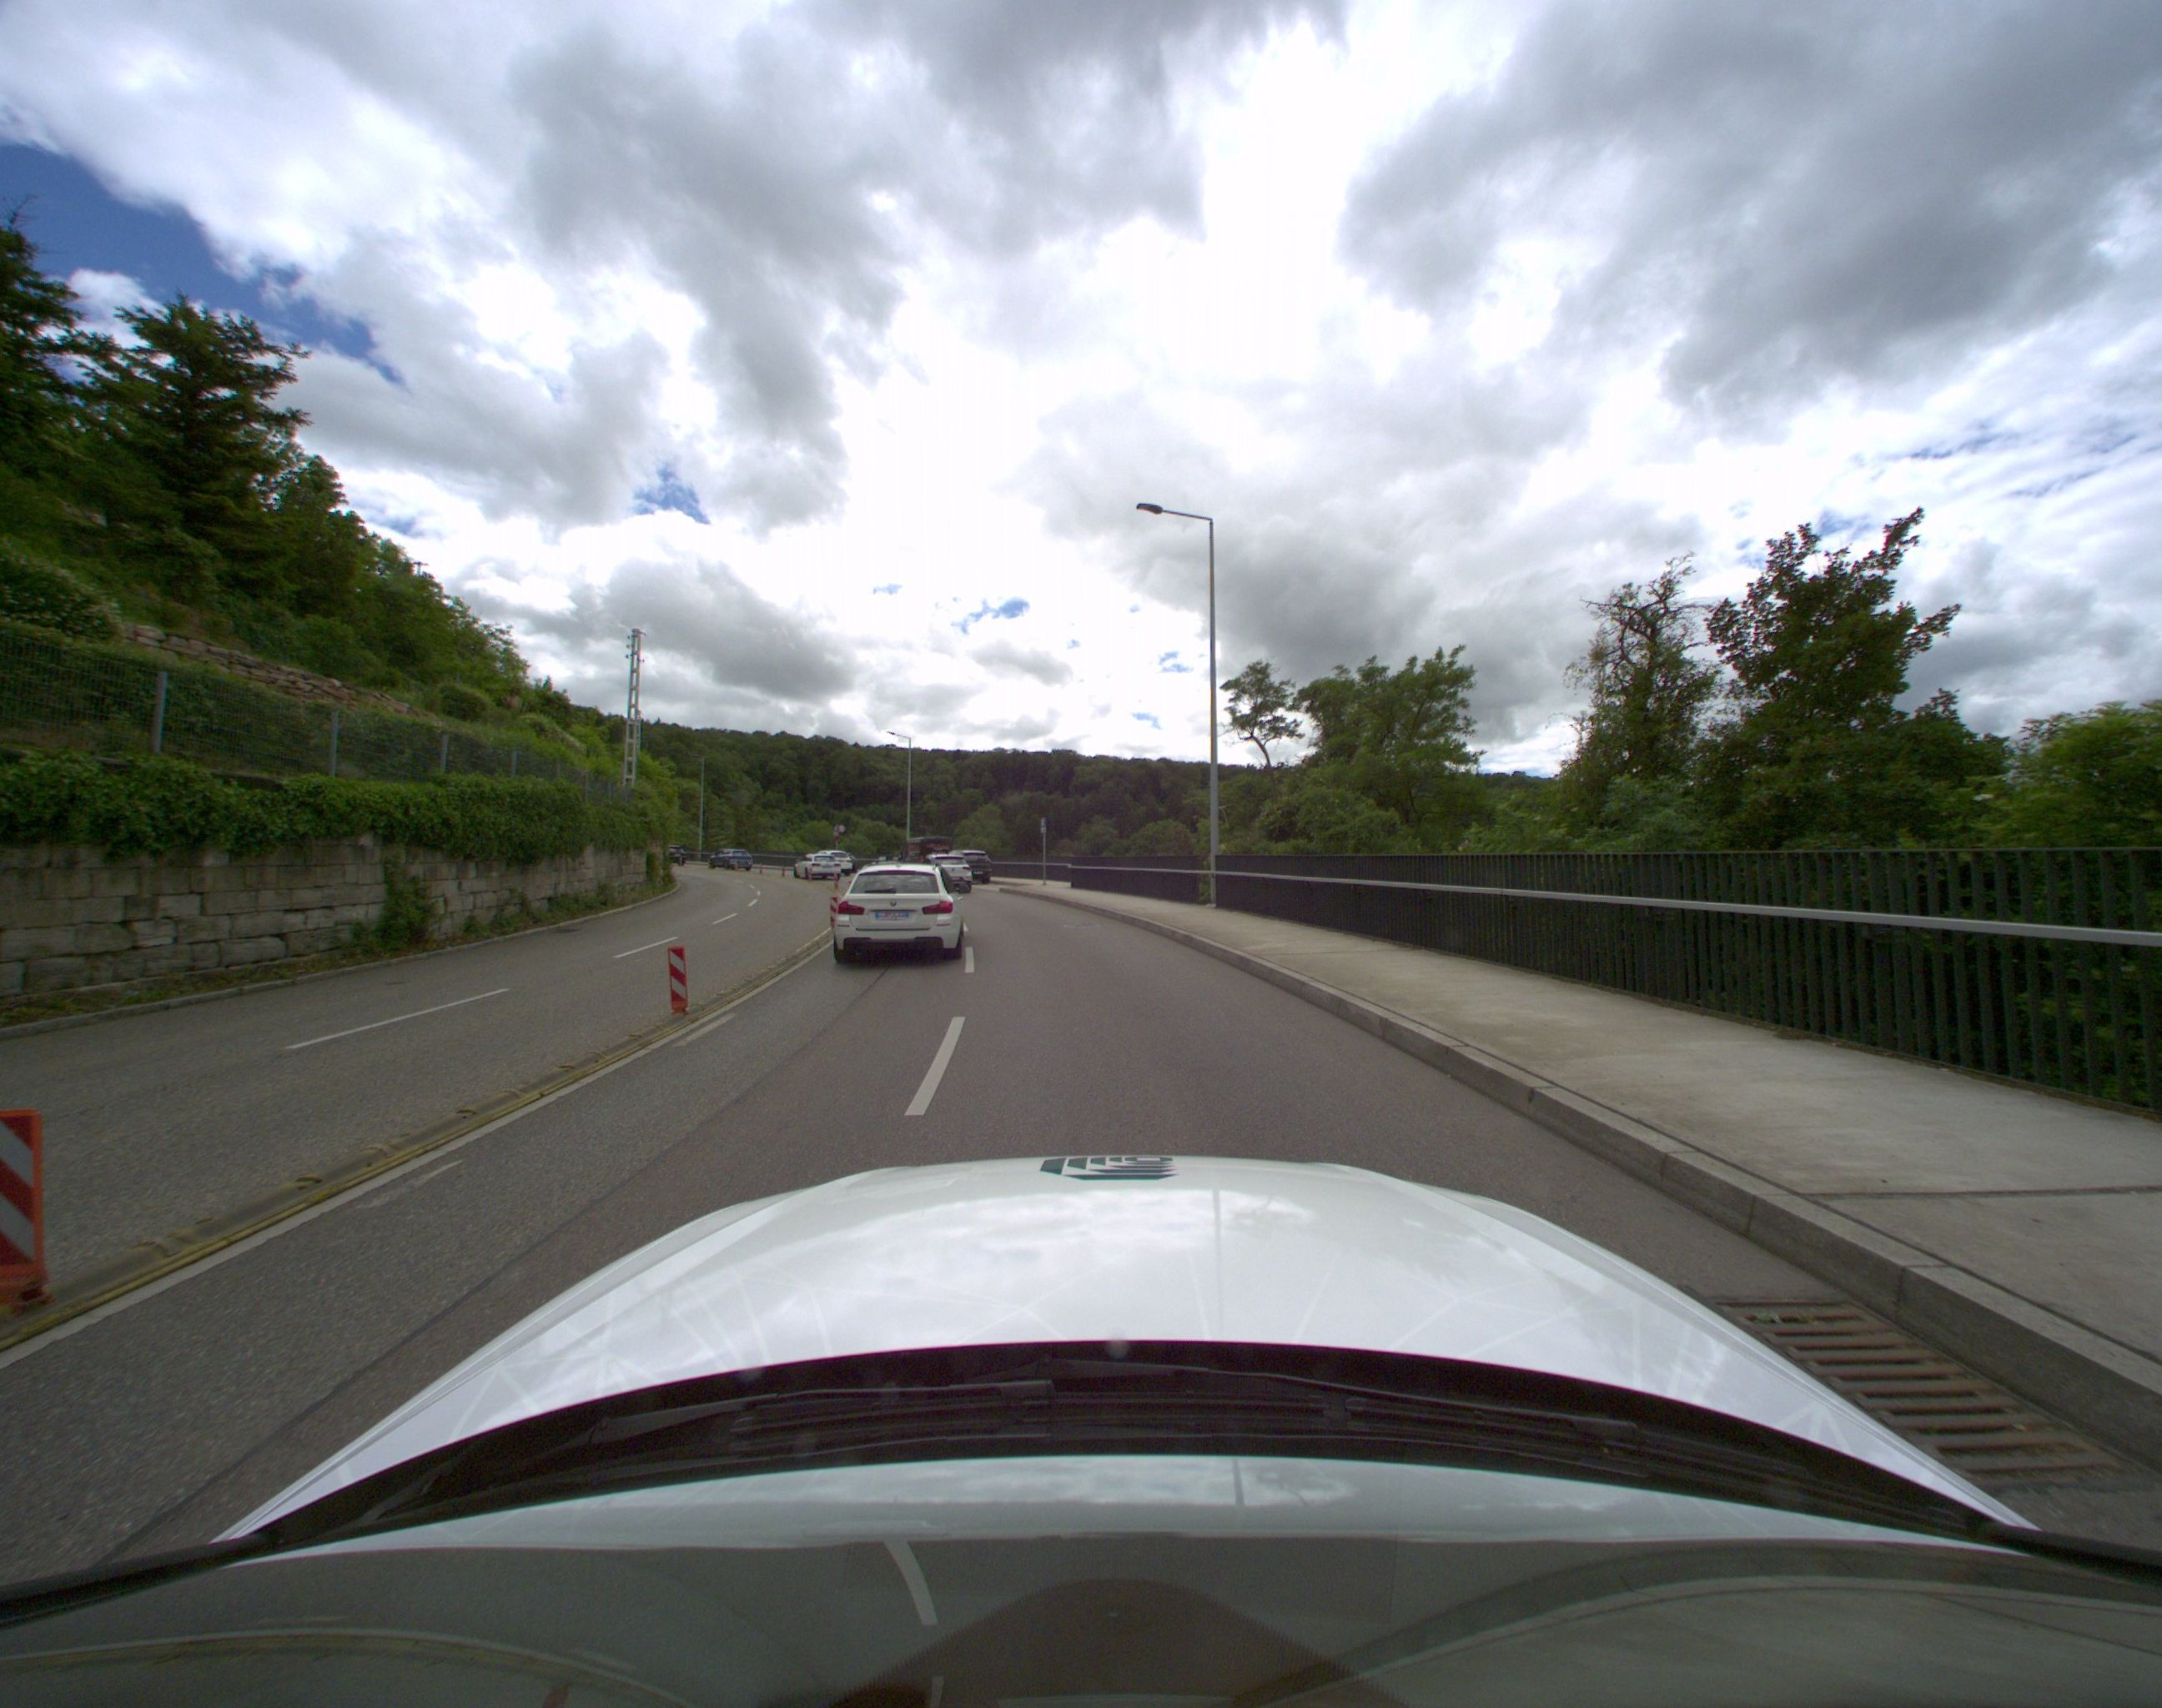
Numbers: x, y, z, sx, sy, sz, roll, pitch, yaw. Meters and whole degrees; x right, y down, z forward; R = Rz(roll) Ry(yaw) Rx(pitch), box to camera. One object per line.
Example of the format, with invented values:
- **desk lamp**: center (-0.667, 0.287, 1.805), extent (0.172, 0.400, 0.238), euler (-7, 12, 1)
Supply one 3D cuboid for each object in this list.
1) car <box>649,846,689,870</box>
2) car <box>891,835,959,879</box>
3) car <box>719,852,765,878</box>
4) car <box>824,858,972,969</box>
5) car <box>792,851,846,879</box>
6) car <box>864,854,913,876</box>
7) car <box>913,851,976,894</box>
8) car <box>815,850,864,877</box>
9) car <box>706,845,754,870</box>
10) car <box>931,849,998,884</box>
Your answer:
- **car**: center (-34.110, 0.376, 67.355), extent (1.886, 1.762, 3.951), euler (2, -4, -42)
- **car**: center (-9.533, 0.147, 49.411), extent (2.181, 2.521, 5.714), euler (-2, 1, -31)
- **car**: center (-27.589, 0.885, 66.208), extent (3.949, 2.013, 2.012), euler (-1, 0, 43)
- **car**: center (-2.832, 0.826, 13.520), extent (1.825, 1.459, 4.477), euler (-1, 0, -6)
- **car**: center (-15.149, 0.629, 47.013), extent (2.006, 1.503, 4.622), euler (-2, 0, -30)
- **car**: center (-12.850, 0.716, 54.147), extent (1.728, 1.431, 3.806), euler (1, 0, -38)
- **car**: center (-5.739, 0.751, 33.866), extent (1.834, 1.606, 3.972), euler (-2, 0, -21)
- **car**: center (-16.051, 0.649, 54.060), extent (2.008, 1.718, 4.070), euler (-2, 0, -34)
- **car**: center (-25.617, 0.273, 59.414), extent (2.011, 1.648, 3.951), euler (-2, 0, -42)
- **car**: center (-6.303, 0.648, 43.548), extent (2.005, 1.718, 5.003), euler (-1, 0, -28)
